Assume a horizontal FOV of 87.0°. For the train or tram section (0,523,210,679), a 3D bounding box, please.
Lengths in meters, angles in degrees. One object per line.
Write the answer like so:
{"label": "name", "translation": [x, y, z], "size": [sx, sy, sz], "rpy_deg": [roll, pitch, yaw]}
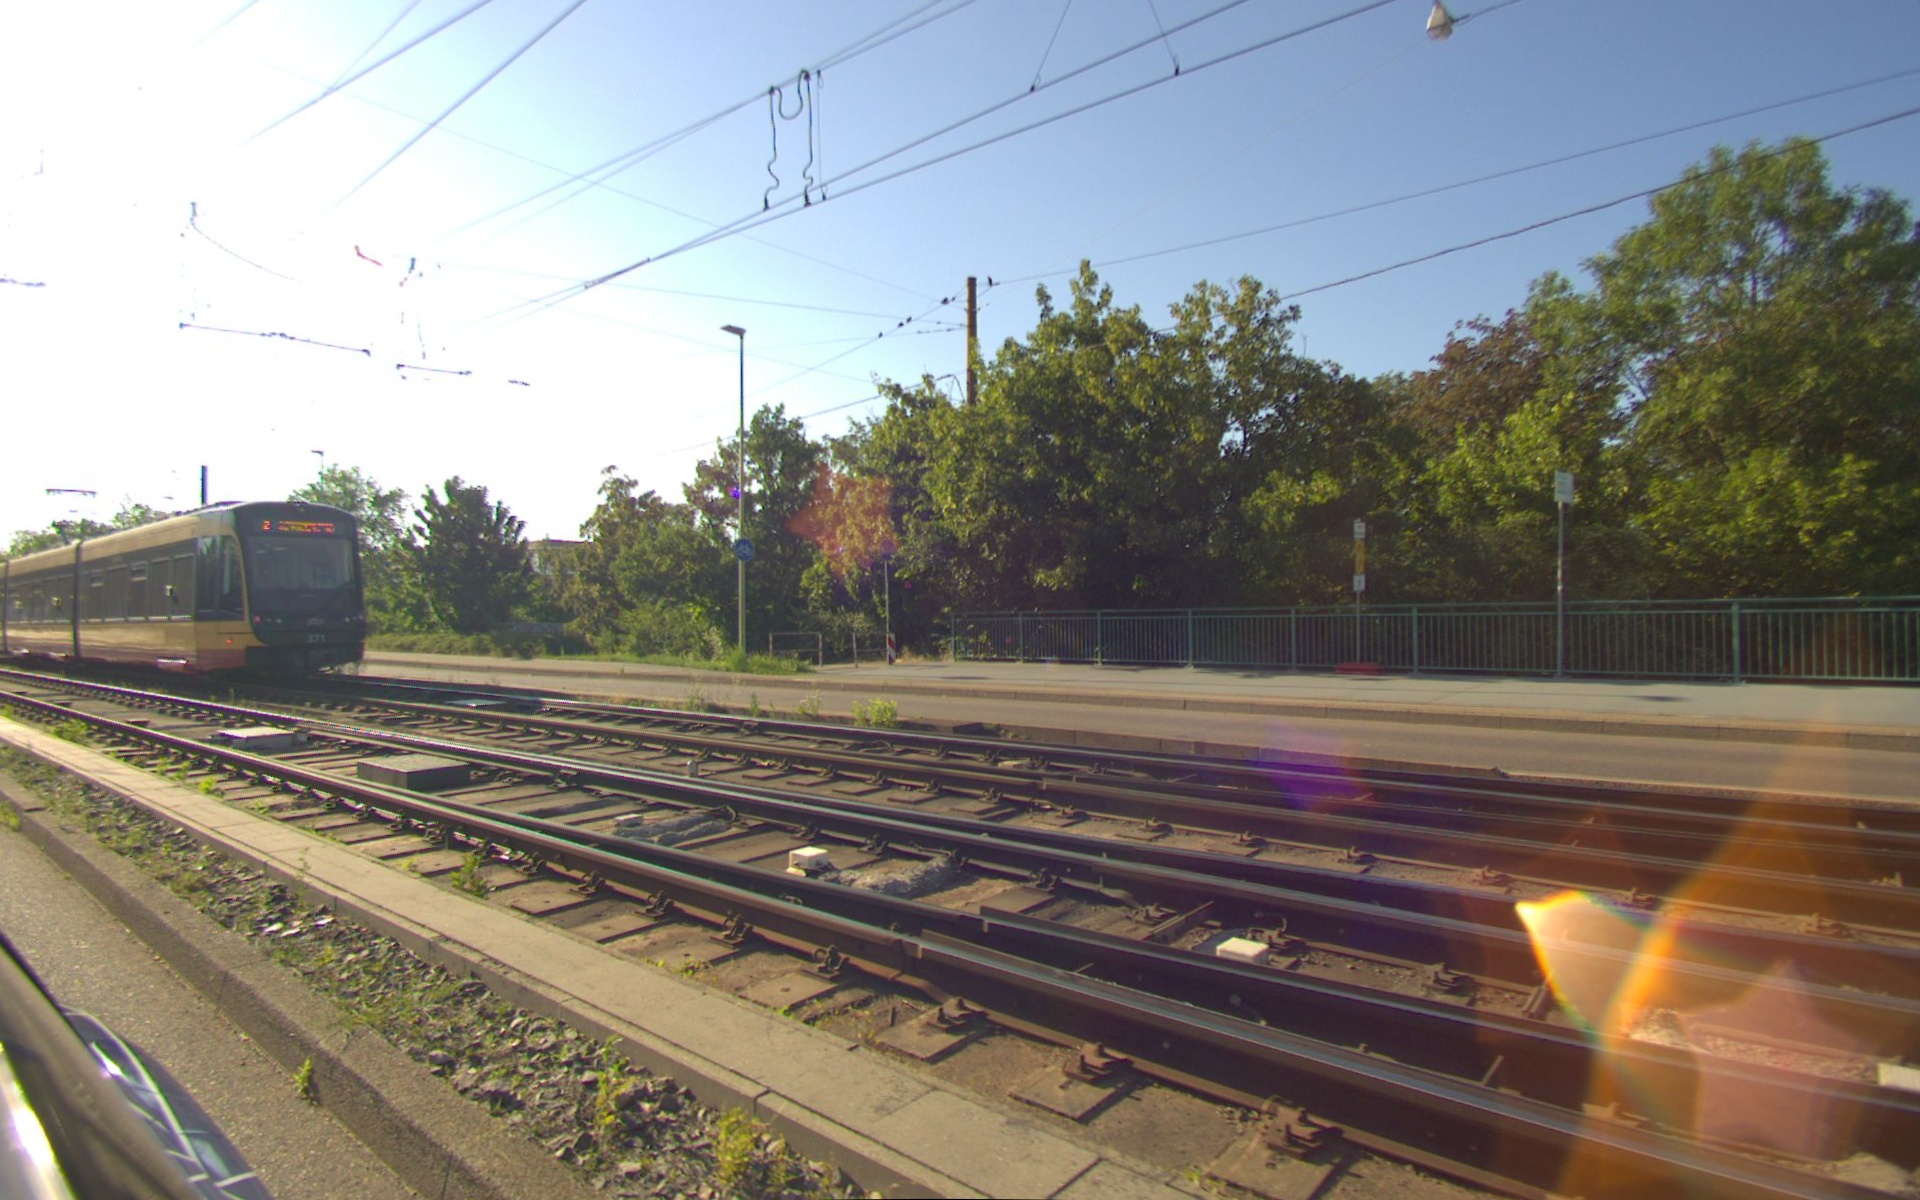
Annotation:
{"label": "train or tram section", "translation": [-25.984, 0.129, 30.369], "size": [11.654, 3.930, 2.946], "rpy_deg": [-1, -1, 40]}

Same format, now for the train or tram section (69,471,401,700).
{"label": "train or tram section", "translation": [-16.629, -0.126, 22.544], "size": [12.690, 3.930, 2.948], "rpy_deg": [-1, -1, 40]}

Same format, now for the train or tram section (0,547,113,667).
{"label": "train or tram section", "translation": [-35.430, 0.355, 38.281], "size": [13.069, 3.930, 2.974], "rpy_deg": [-1, -1, 40]}
